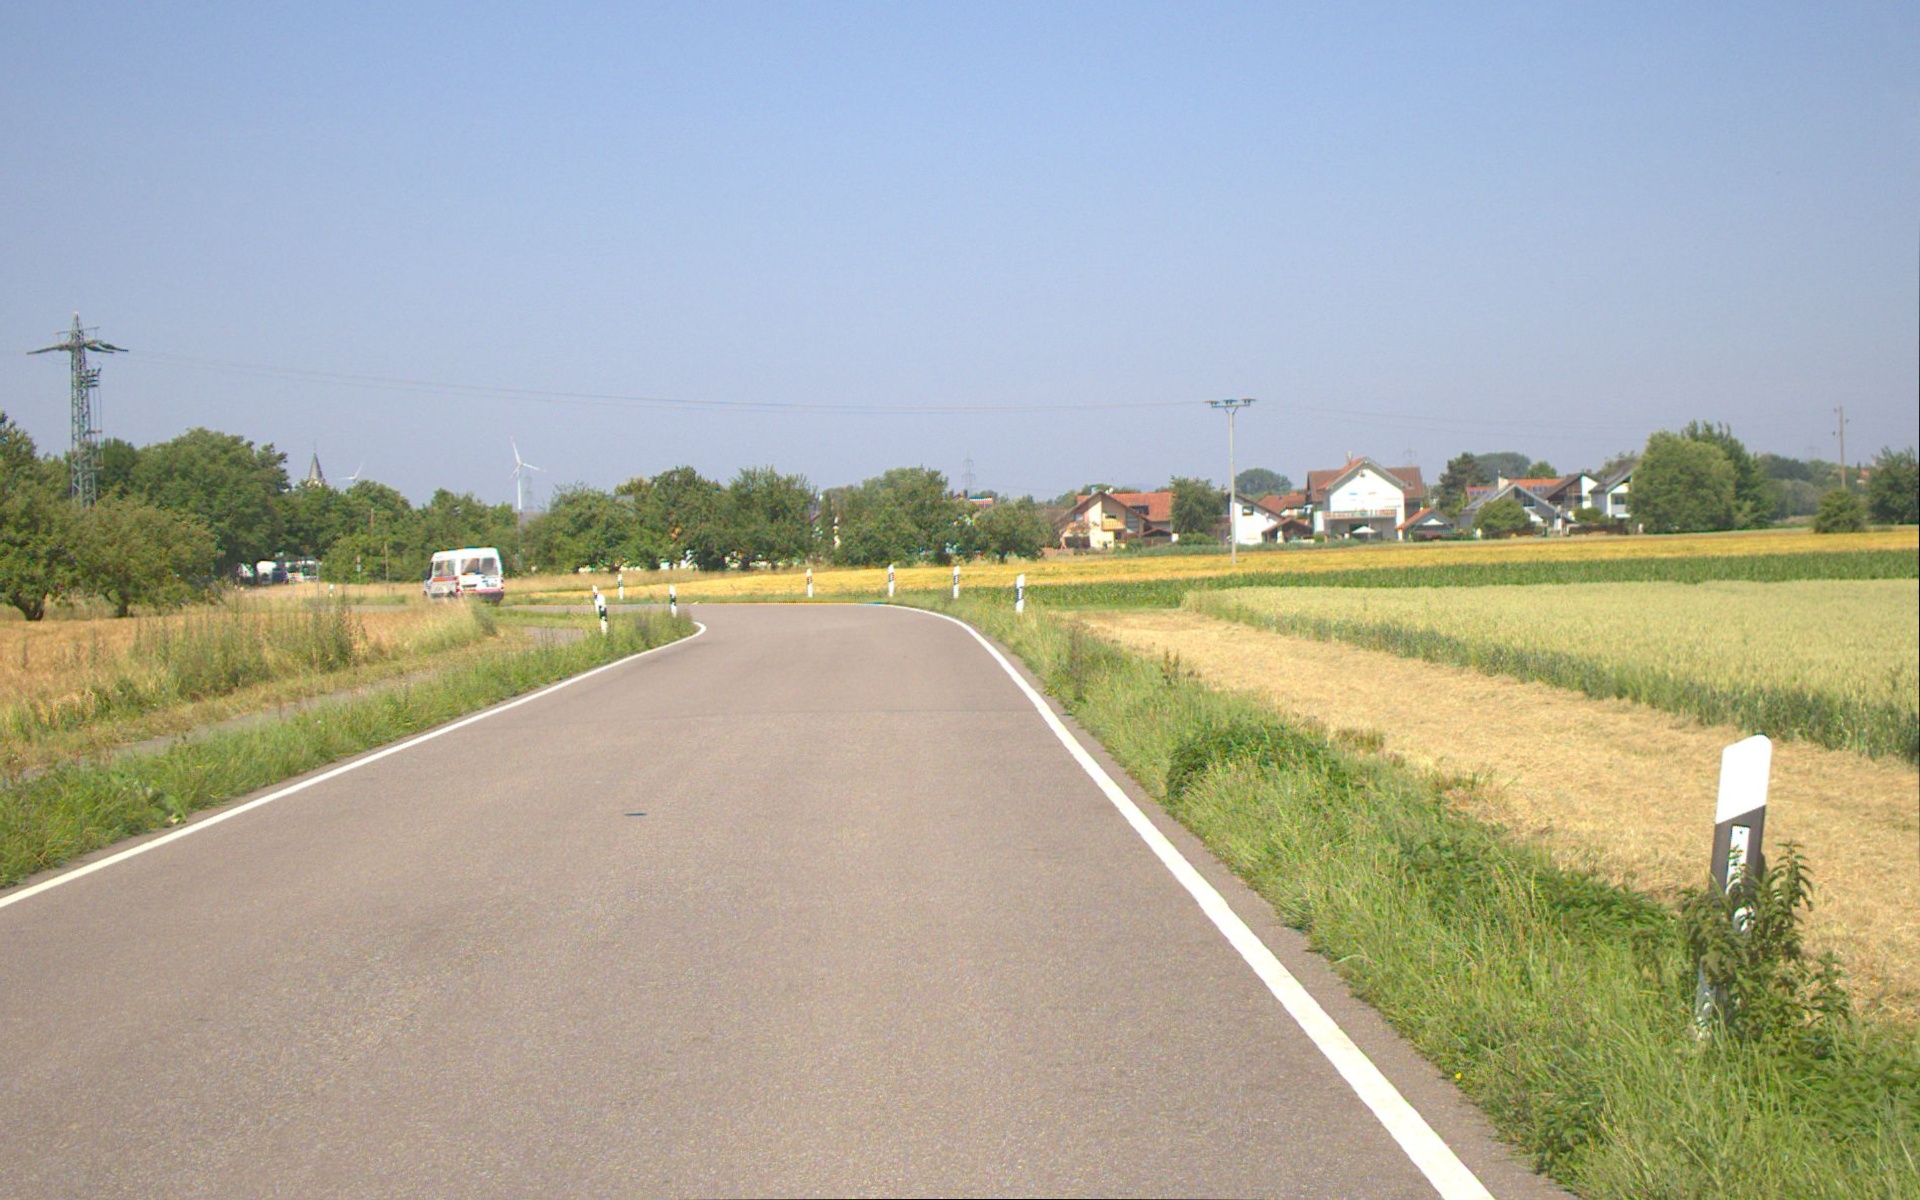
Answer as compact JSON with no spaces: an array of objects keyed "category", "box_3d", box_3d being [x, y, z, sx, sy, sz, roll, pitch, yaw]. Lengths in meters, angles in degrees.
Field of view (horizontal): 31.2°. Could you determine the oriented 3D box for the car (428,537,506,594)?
[{"category":"car","box_3d":[-20.575,-1.435,143.325,1.993,2.258,4.727,-2,1,-23]}]
